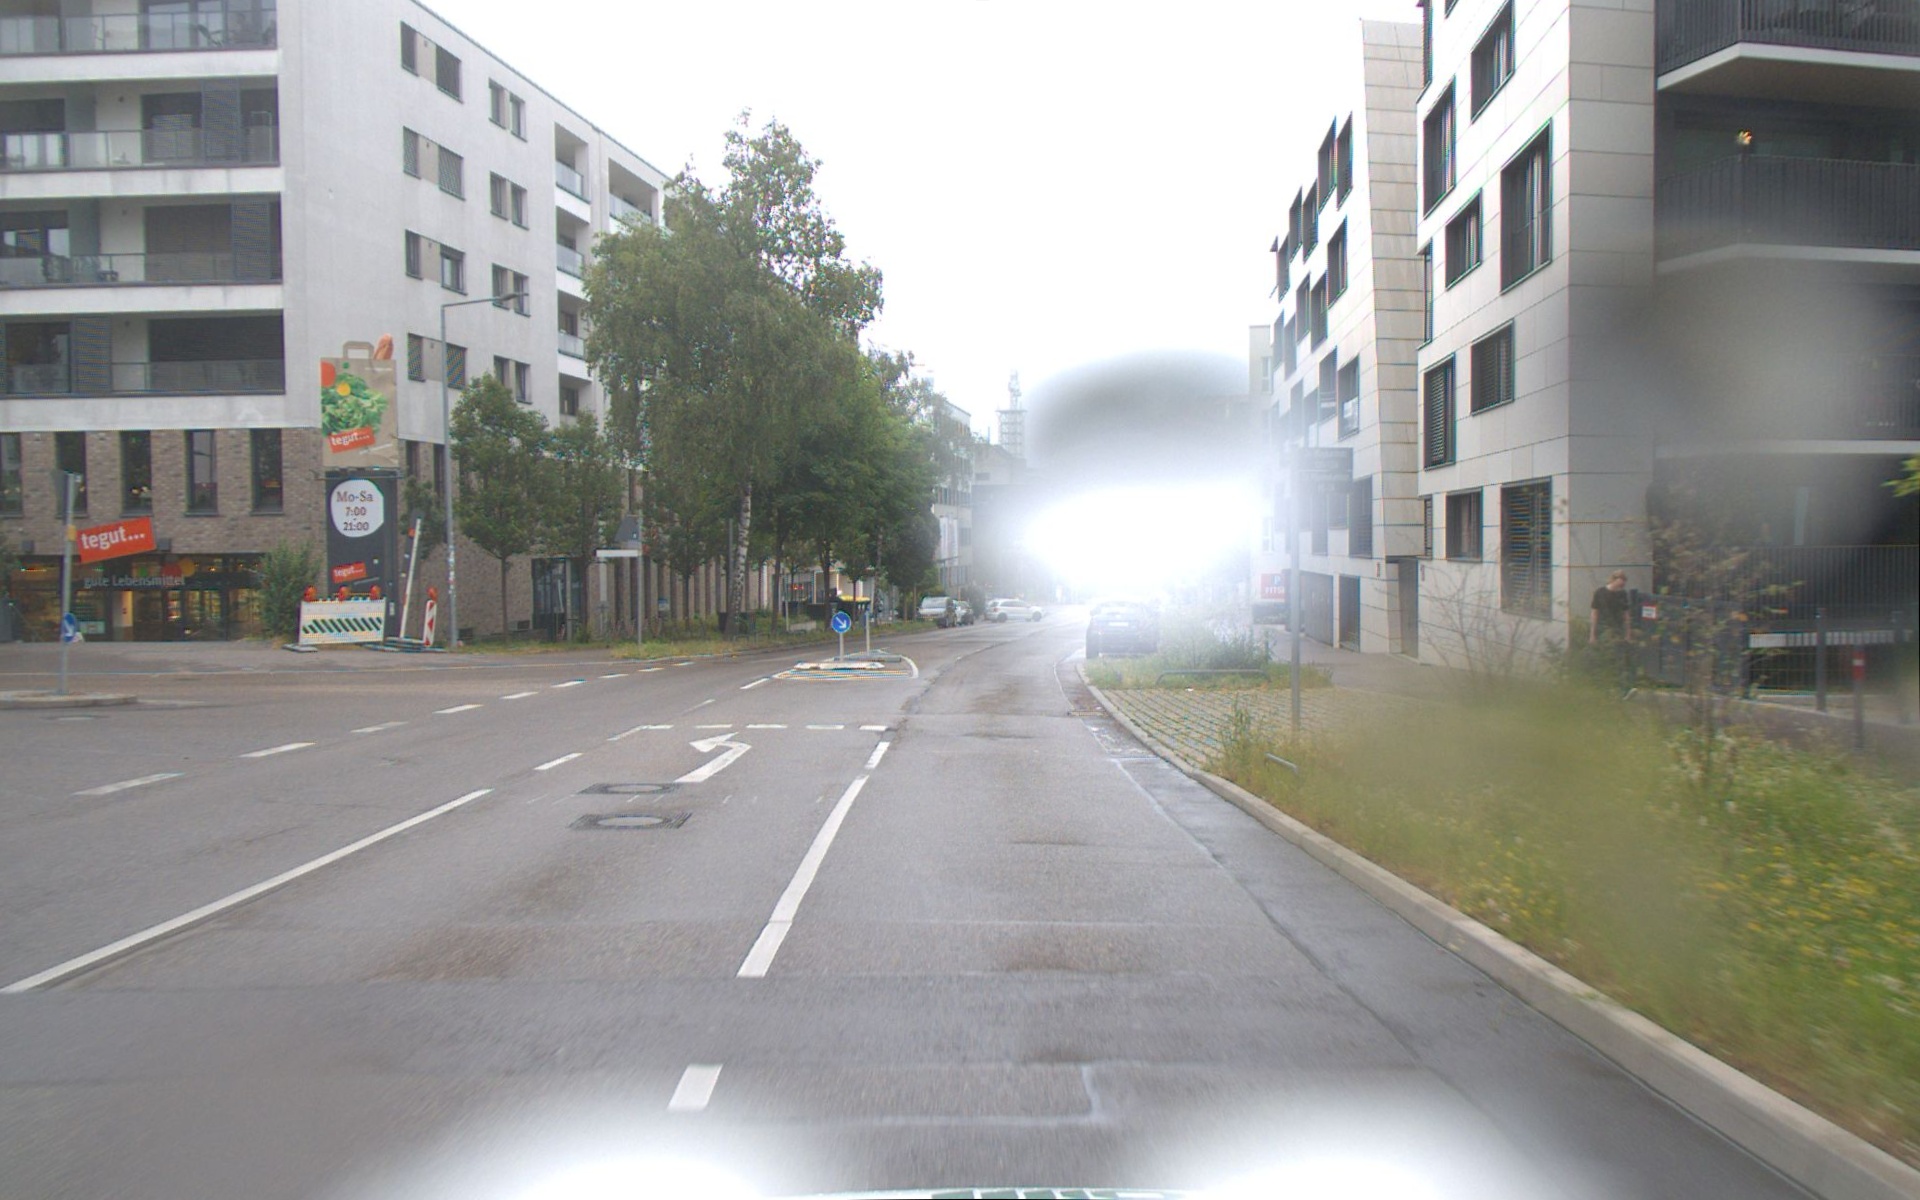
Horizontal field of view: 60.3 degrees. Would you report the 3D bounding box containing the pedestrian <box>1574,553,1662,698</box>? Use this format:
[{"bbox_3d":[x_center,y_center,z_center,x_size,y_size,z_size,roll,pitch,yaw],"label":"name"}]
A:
[{"bbox_3d":[8.503,0.326,21.413,0.805,1.827,0.778,-1,-1,1],"label":"pedestrian"}]

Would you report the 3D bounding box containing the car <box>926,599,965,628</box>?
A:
[{"bbox_3d":[-0.807,0.754,95.503,1.735,1.628,4.035,0,0,7],"label":"car"}]

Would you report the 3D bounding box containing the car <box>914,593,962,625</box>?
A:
[{"bbox_3d":[-1.188,0.459,90.254,2.033,1.637,4.689,-1,0,6],"label":"car"}]

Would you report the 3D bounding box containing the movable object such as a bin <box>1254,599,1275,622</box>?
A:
[{"bbox_3d":[18.250,0.609,99.081,1.208,1.343,1.192,-1,-1,9],"label":"movable object such as a bin"}]

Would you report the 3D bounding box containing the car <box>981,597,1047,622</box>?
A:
[{"bbox_3d":[3.533,0.621,108.272,3.920,1.604,1.990,0,0,-18],"label":"car"}]

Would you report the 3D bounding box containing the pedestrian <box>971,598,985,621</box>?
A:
[{"bbox_3d":[1.319,0.705,122.058,0.717,1.738,0.898,0,-1,-19],"label":"pedestrian"}]

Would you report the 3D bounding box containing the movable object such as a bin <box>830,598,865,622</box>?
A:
[{"bbox_3d":[-6.931,0.611,101.803,1.984,1.454,1.291,1,0,4],"label":"movable object such as a bin"}]

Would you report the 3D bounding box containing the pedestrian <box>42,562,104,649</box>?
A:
[{"bbox_3d":[-21.267,0.123,39.670,0.865,2.049,1.117,1,0,-2],"label":"pedestrian"}]

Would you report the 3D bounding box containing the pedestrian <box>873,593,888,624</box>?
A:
[{"bbox_3d":[-4.300,0.454,89.909,0.693,1.712,0.957,0,0,3],"label":"pedestrian"}]

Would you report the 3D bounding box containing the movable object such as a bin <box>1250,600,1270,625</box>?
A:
[{"bbox_3d":[18.379,0.774,101.301,1.148,1.529,1.014,0,0,10],"label":"movable object such as a bin"}]

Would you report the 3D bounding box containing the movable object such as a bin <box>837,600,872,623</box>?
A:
[{"bbox_3d":[-6.568,0.718,103.117,2.011,1.448,1.317,1,0,4],"label":"movable object such as a bin"}]

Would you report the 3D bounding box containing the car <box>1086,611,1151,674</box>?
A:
[{"bbox_3d":[4.179,1.067,43.213,1.513,1.504,3.663,0,1,8],"label":"car"}]

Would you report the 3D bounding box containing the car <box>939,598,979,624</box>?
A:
[{"bbox_3d":[-0.020,0.689,100.173,1.758,1.543,4.249,0,-1,9],"label":"car"}]

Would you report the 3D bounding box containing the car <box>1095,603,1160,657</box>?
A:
[{"bbox_3d":[4.949,0.868,48.476,1.769,1.510,4.498,0,-1,7],"label":"car"}]

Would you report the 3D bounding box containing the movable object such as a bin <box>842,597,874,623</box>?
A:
[{"bbox_3d":[-6.445,0.631,104.681,1.757,1.536,1.482,-2,0,4],"label":"movable object such as a bin"}]
